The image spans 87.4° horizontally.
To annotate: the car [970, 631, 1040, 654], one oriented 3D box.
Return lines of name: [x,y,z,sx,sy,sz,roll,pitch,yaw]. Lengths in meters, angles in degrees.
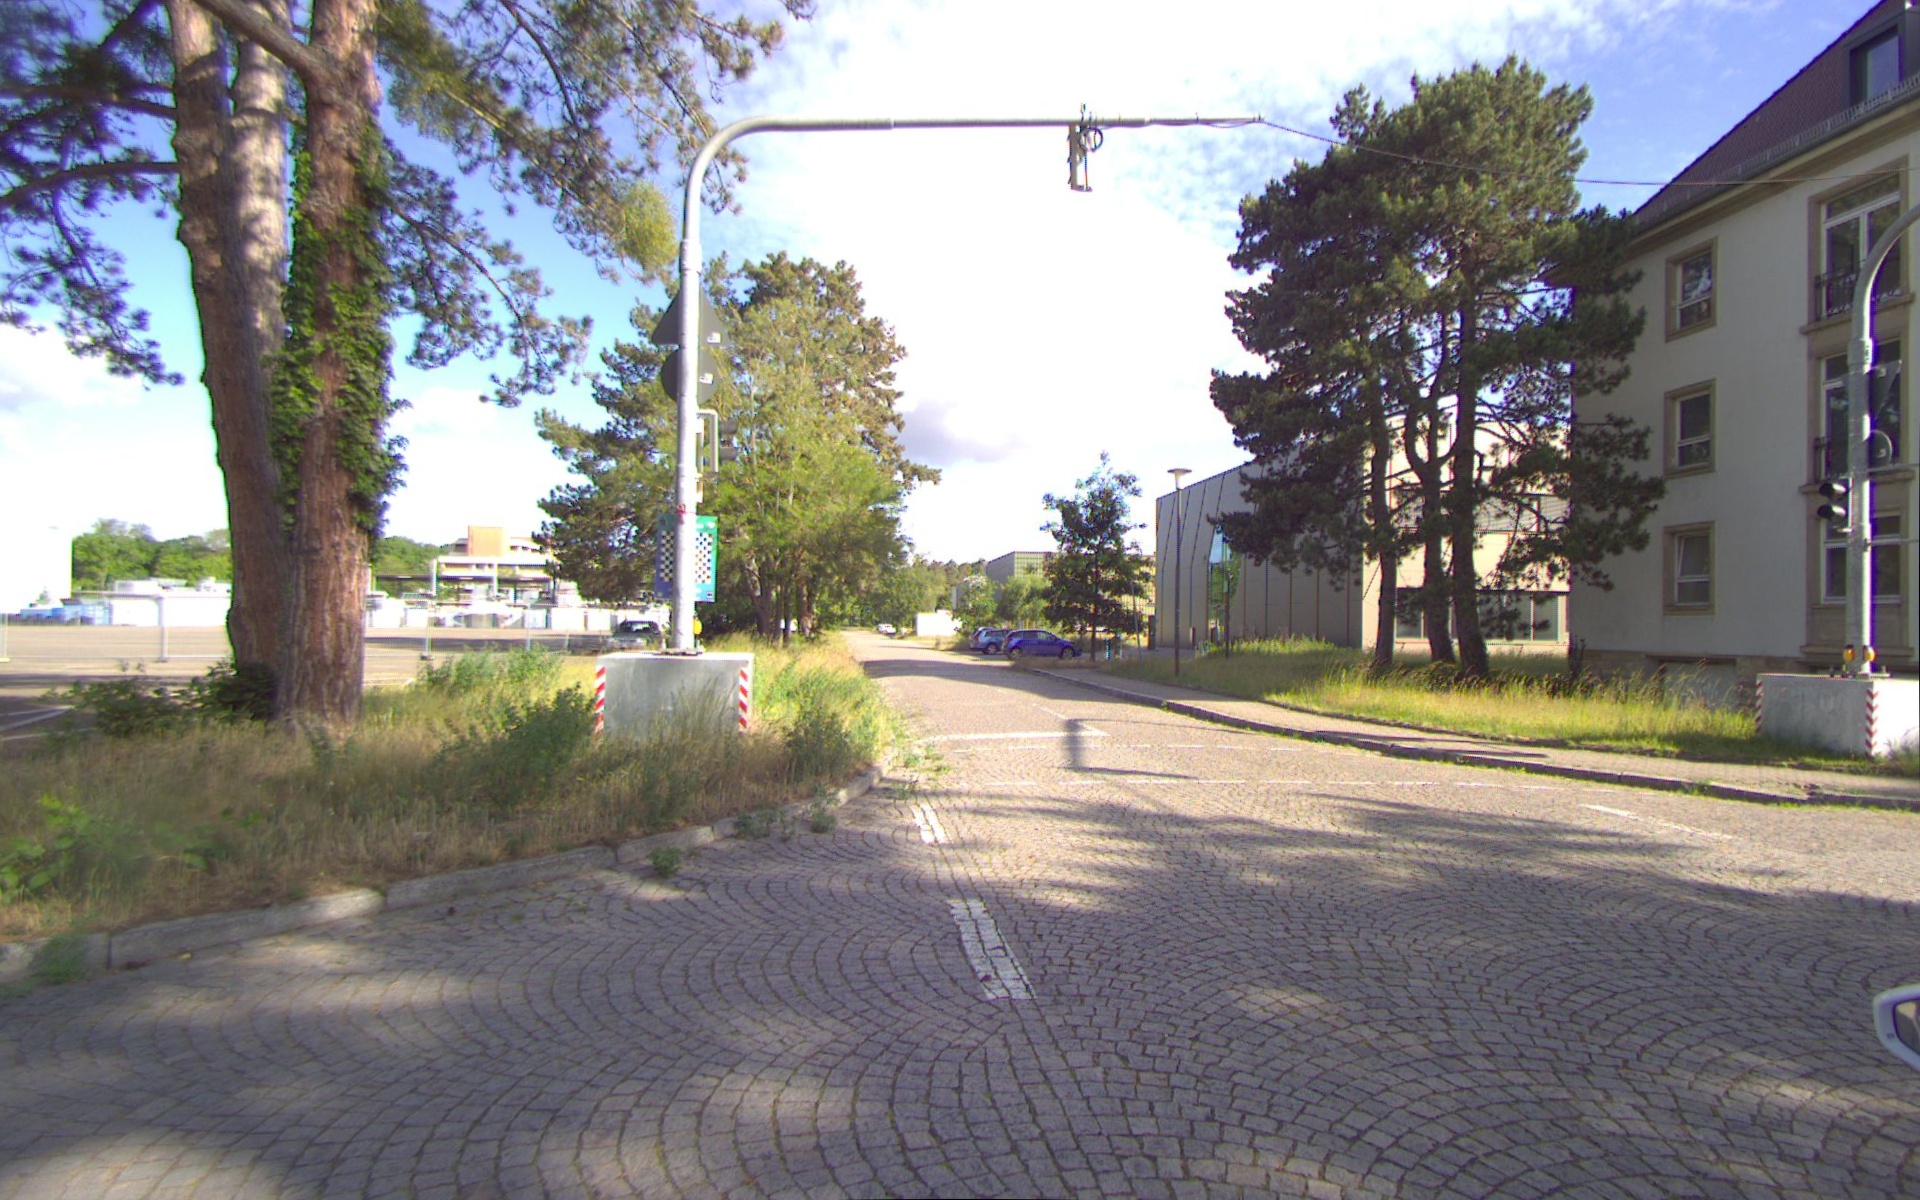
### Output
car: [2.580,2.463,58.462,3.923,1.221,1.491,1,-1,-4]

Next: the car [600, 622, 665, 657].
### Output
car: [-13.498,1.607,41.562,1.714,1.388,3.620,1,-1,-5]

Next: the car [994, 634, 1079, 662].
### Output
car: [3.719,2.339,49.158,3.974,1.311,1.491,1,-1,-5]

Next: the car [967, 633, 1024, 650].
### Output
car: [2.297,2.715,65.753,3.609,1.090,1.409,1,-1,-4]
